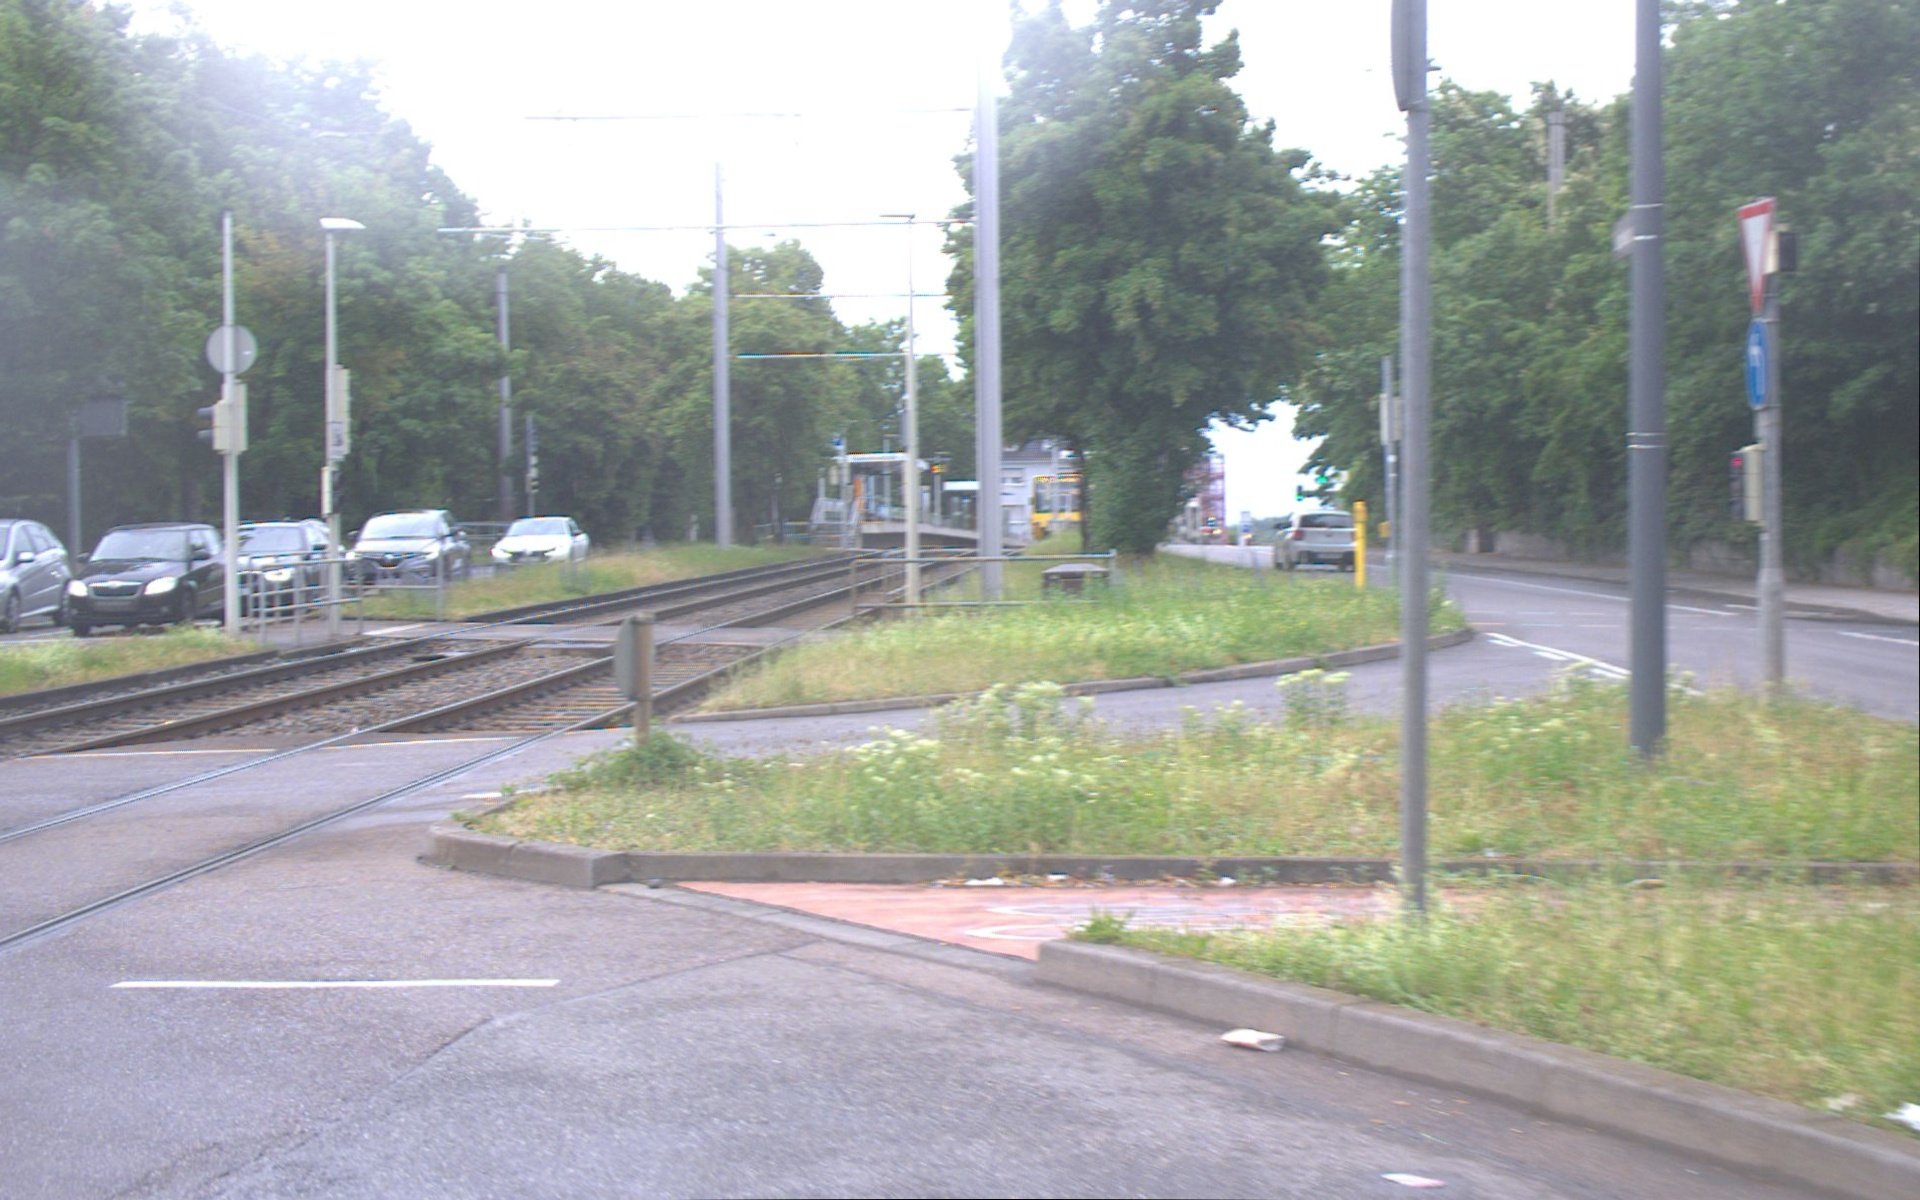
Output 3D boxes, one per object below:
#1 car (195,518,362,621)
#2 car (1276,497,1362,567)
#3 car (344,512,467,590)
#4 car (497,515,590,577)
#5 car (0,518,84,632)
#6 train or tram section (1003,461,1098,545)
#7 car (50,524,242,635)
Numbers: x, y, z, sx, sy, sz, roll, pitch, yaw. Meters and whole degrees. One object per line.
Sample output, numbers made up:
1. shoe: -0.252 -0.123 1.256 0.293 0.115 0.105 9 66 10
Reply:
1. car: -10.346 -0.491 52.403 1.601 1.397 3.792 -3 2 2
2. car: 8.218 -1.574 78.867 1.703 1.516 3.792 1 2 2
3. car: -10.581 -0.956 65.819 1.601 1.397 3.792 1 2 2
4. car: -10.065 -1.329 83.233 1.601 1.397 3.792 -2 2 2
5. car: -14.138 -0.352 49.754 1.719 1.548 3.863 -3 2 2
6. train or tram section: 4.550 -4.679 168.715 4.060 3.881 15.038 0 1 4
7. car: -11.180 -0.312 47.432 1.601 1.397 3.792 1 2 2
